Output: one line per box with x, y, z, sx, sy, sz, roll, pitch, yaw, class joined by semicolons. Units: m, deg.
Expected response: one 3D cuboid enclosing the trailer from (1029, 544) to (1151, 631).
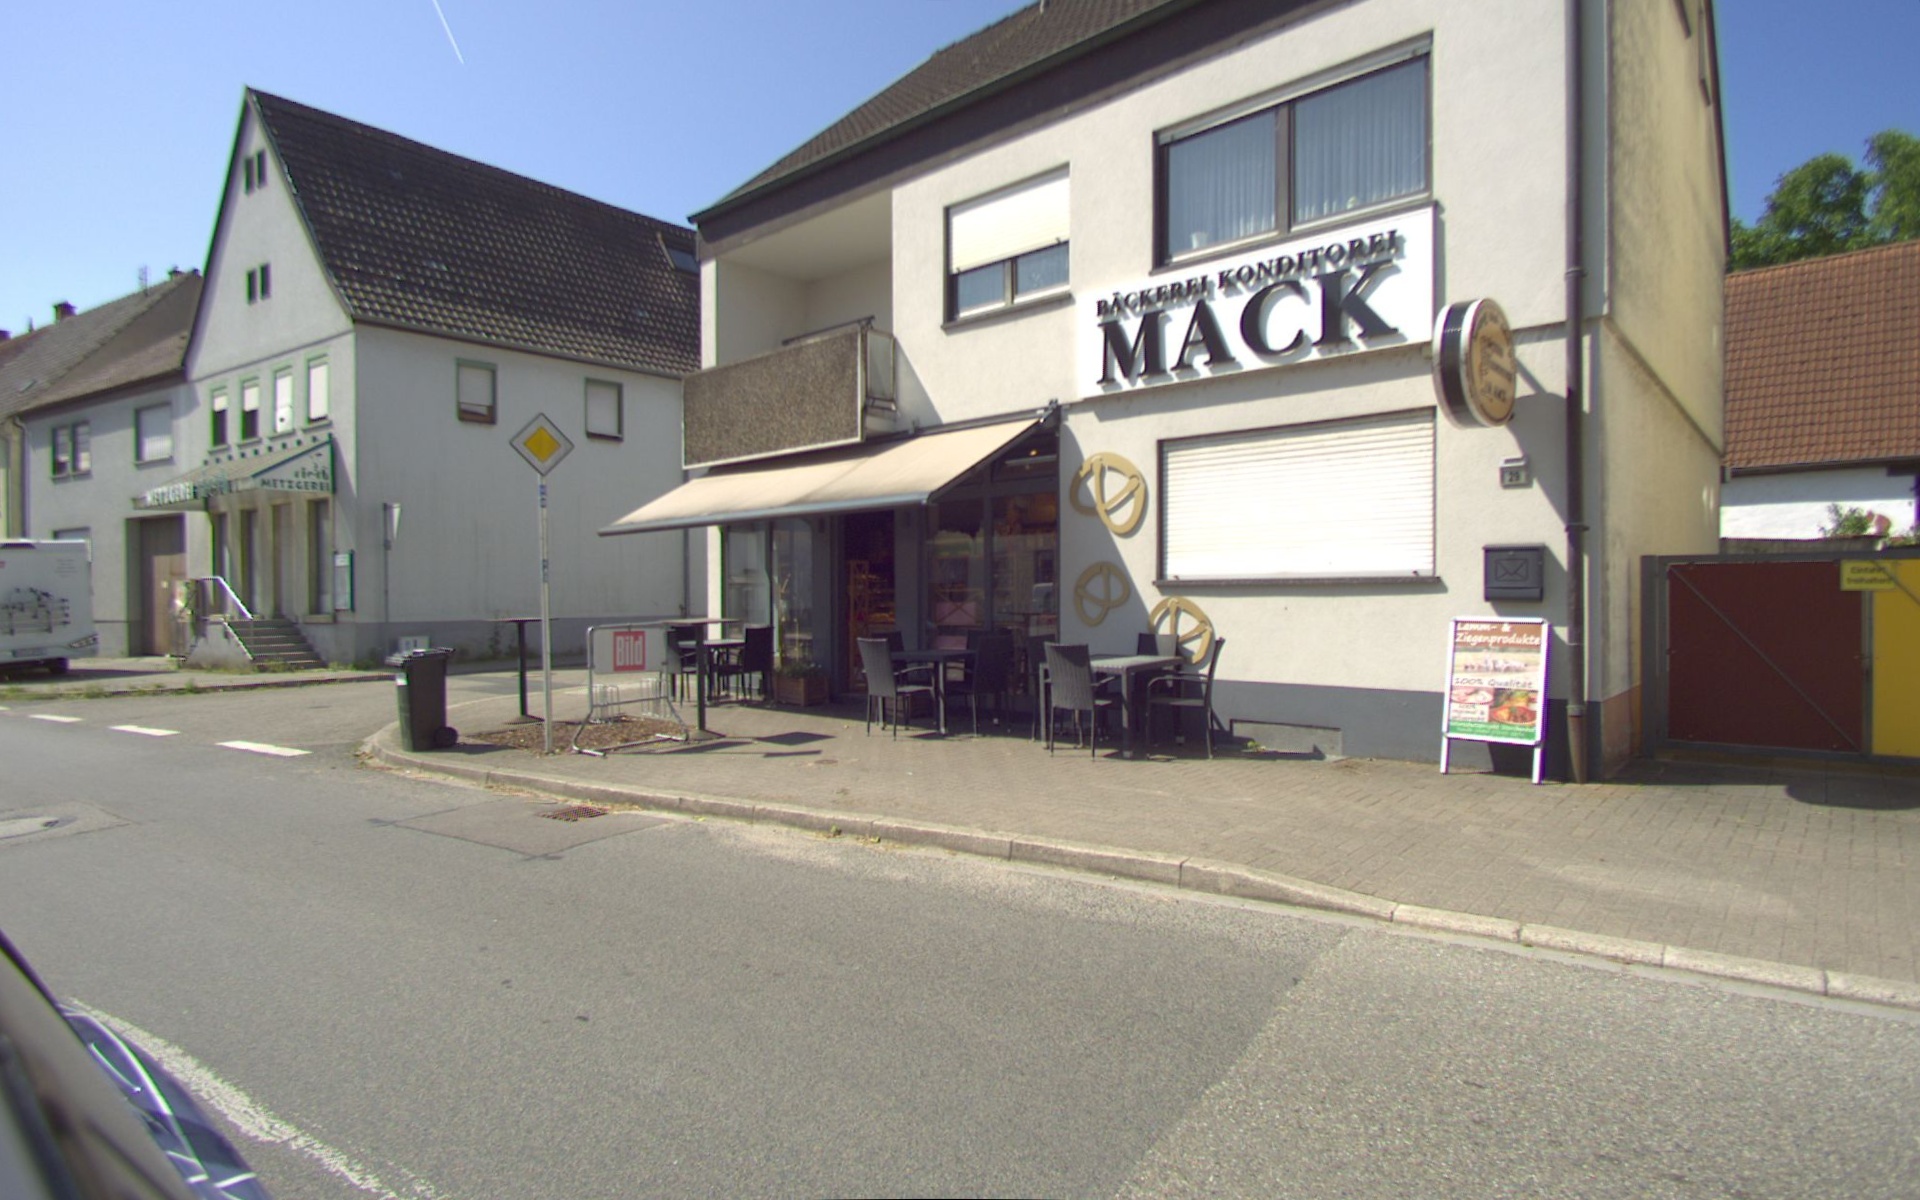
4.341;-0.416;33.545;3.941;2.693;2.059;-1;1;-45;trailer

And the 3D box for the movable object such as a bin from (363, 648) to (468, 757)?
-5.076;0.933;9.450;0.611;0.931;0.638;-1;0;31;movable object such as a bin

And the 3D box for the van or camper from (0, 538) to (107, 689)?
-21.261;0.303;21.801;7.045;2.926;2.427;-1;0;33;van or camper
